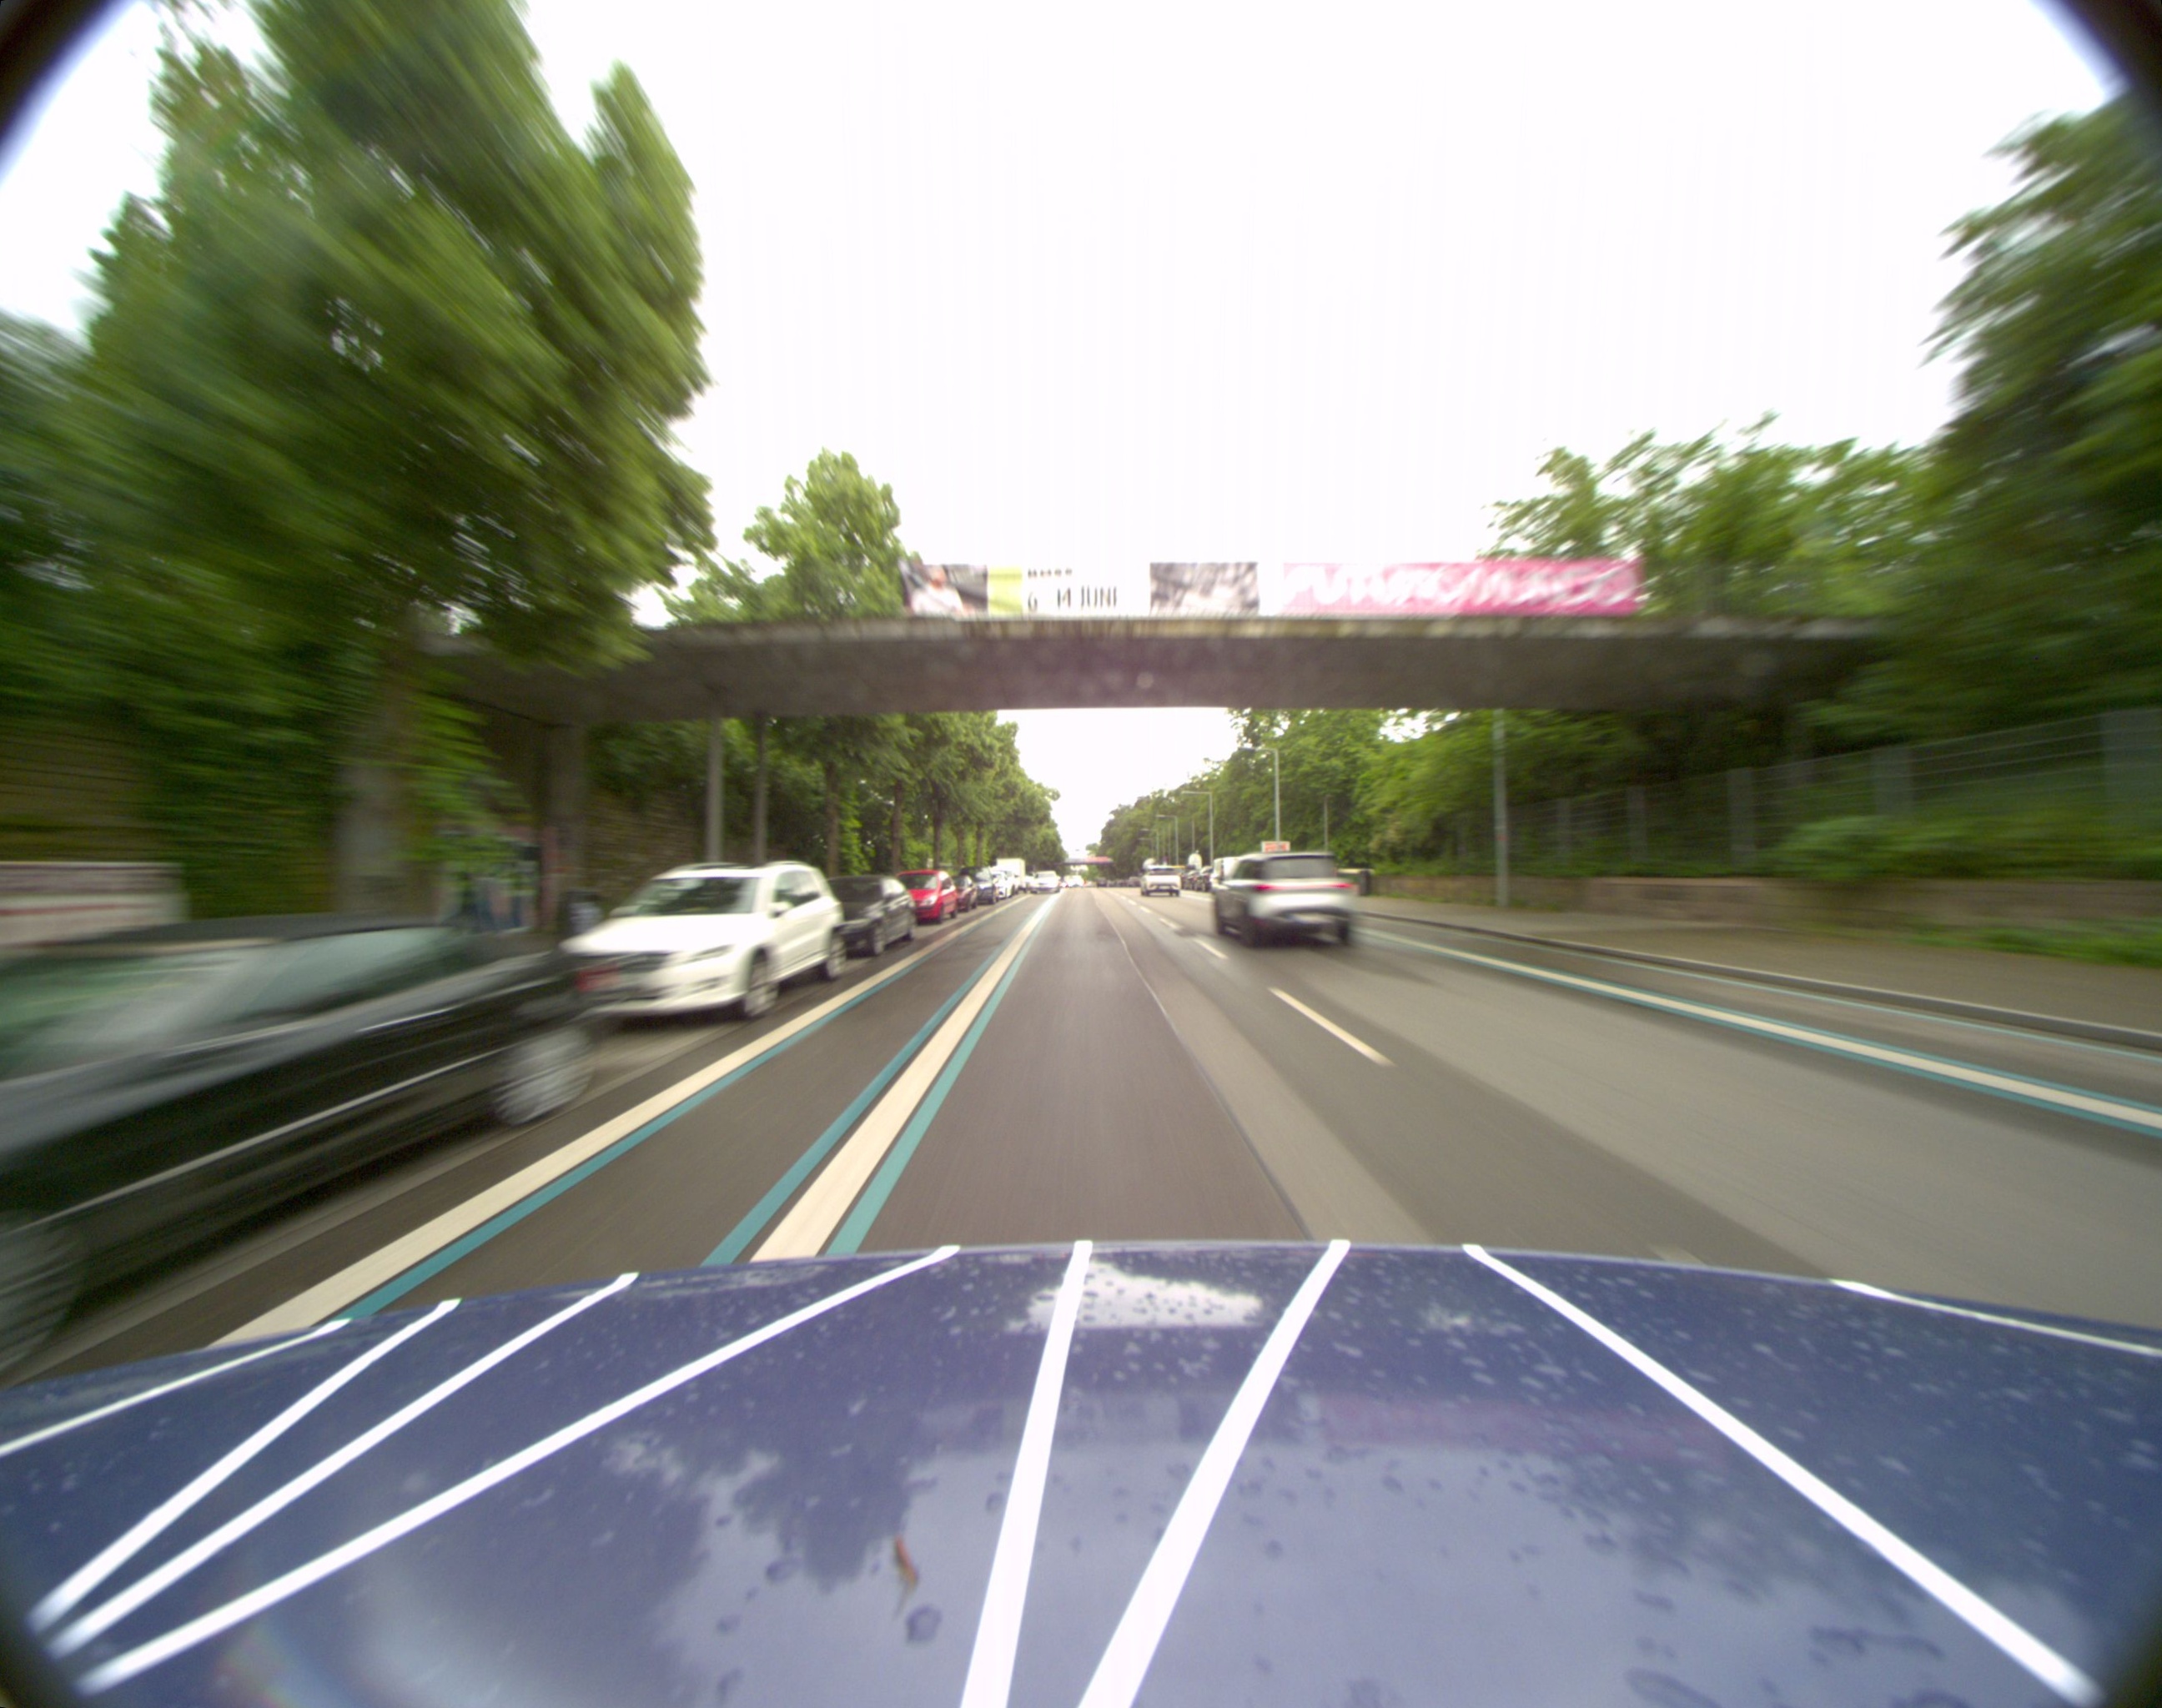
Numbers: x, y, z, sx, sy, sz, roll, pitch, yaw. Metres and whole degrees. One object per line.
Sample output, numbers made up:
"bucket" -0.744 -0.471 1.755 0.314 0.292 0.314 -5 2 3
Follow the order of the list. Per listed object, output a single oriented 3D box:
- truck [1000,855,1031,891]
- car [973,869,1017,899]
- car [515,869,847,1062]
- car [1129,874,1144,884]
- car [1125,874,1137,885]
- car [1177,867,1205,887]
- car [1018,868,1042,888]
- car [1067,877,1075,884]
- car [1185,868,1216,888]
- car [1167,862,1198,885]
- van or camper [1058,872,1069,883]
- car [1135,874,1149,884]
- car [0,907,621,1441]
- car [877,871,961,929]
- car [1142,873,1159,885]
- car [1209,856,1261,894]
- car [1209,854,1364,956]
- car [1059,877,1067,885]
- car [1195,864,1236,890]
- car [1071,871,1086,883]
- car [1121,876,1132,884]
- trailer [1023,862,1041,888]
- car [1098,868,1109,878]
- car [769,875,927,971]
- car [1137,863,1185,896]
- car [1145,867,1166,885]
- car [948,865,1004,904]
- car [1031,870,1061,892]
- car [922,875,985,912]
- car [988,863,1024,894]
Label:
"truck" -4.370 1.317 51.529 1.723 2.319 4.001 -1 -1 0
"car" -4.340 1.502 38.895 1.664 1.417 4.619 -1 -2 1
"car" -4.259 1.047 8.987 1.718 1.609 4.260 -1 0 -1
"car" 8.212 3.750 112.968 1.795 1.458 4.329 0 -2 -2
"car" 8.661 4.371 131.188 1.822 1.754 4.002 0 -3 0
"car" 8.693 1.851 60.346 1.714 1.495 4.152 0 -2 1
"car" -4.305 1.989 63.692 1.761 1.575 4.412 -1 -2 -6
"car" -2.216 5.804 167.177 1.733 1.578 3.672 -2 -2 0
"car" 8.703 1.761 55.456 1.612 1.437 4.039 0 -2 0
"car" 8.724 1.713 65.934 1.999 1.901 4.846 0 -2 0
"van or camper" -4.136 5.641 181.350 2.642 2.617 5.744 -1 -1 0
"car" 8.539 3.542 106.331 1.680 1.363 3.587 0 -2 0
"car" -4.246 1.142 3.276 1.722 1.368 4.557 -1 1 0
"car" -4.476 1.255 21.484 1.563 1.457 3.627 -1 -2 0
"car" 8.639 3.062 94.157 1.731 1.439 4.596 0 -2 1
"car" 8.350 1.158 41.637 1.983 1.902 5.229 -1 -2 2
"car" 3.586 0.808 14.038 1.800 1.567 4.102 -1 0 1
"car" -4.131 6.194 175.031 1.733 1.578 3.672 -2 -2 0
"car" 8.627 1.524 49.132 1.829 1.606 4.664 0 -2 -1
"car" -0.291 2.962 98.859 1.828 1.453 3.883 -2 -2 0
"car" 8.408 4.835 140.292 1.822 1.533 4.545 0 -3 0
"trailer" -4.468 1.907 68.987 1.350 2.255 3.565 -2 -1 0
"car" 3.738 3.203 126.490 1.715 1.608 4.151 1 -2 0
"car" -4.280 1.195 14.697 1.677 1.385 4.449 -1 1 0
"car" 4.040 1.274 39.017 1.977 1.542 3.870 -1 -1 0
"car" 8.653 2.587 88.155 1.877 1.965 4.736 0 -2 -1
"car" -4.512 1.311 33.352 1.999 1.550 4.642 -1 -2 -3
"car" -2.263 1.759 50.075 1.726 1.389 4.592 -1 -2 -1
"car" -4.537 1.388 27.520 1.630 1.182 4.184 -1 -2 -1
"car" -4.495 1.468 45.861 1.726 1.779 4.346 -1 -2 0
